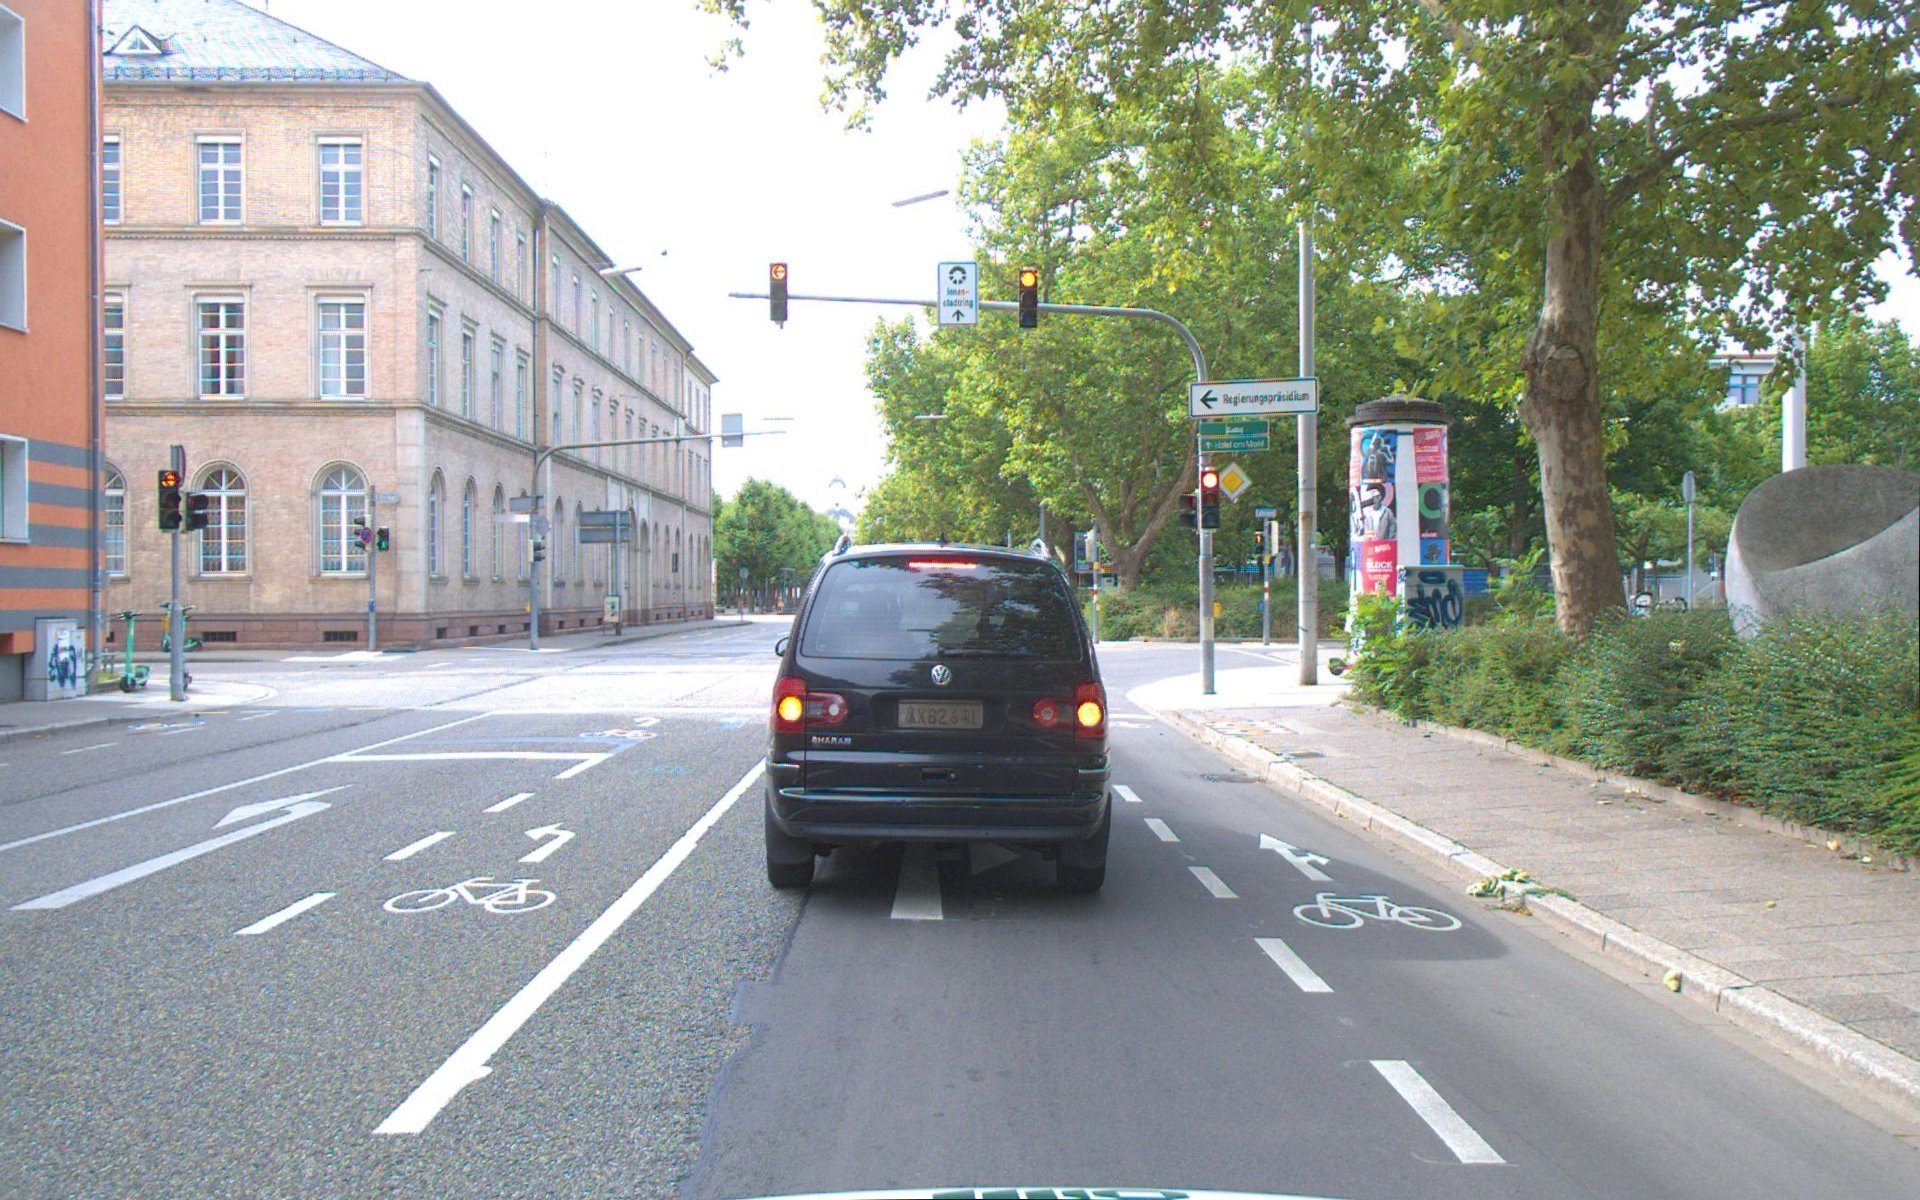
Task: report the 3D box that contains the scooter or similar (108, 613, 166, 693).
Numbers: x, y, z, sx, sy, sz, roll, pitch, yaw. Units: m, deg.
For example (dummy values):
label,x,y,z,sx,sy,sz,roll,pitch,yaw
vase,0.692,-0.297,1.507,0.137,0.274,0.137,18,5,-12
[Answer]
label,x,y,z,sx,sy,sz,roll,pitch,yaw
scooter or similar,-12.378,0.789,24.907,0.370,1.167,1.141,0,-1,-4

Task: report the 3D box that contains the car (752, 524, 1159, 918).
label,x,y,z,sx,sy,sz,roll,pitch,yaw
car,-0.018,0.527,9.771,1.835,1.775,4.573,0,0,0

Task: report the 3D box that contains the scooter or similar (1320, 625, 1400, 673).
label,x,y,z,sx,sy,sz,roll,pitch,yaw
scooter or similar,6.428,0.789,26.582,1.194,0.749,0.369,-1,0,-2

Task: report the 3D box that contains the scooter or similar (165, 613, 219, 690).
label,x,y,z,sx,sy,sz,roll,pitch,yaw
scooter or similar,-11.809,0.788,25.463,0.370,1.164,1.141,0,-1,-4

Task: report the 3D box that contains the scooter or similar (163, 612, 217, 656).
label,x,y,z,sx,sy,sz,roll,pitch,yaw
scooter or similar,-18.692,0.824,40.145,1.115,1.068,0.379,-1,-1,-2
